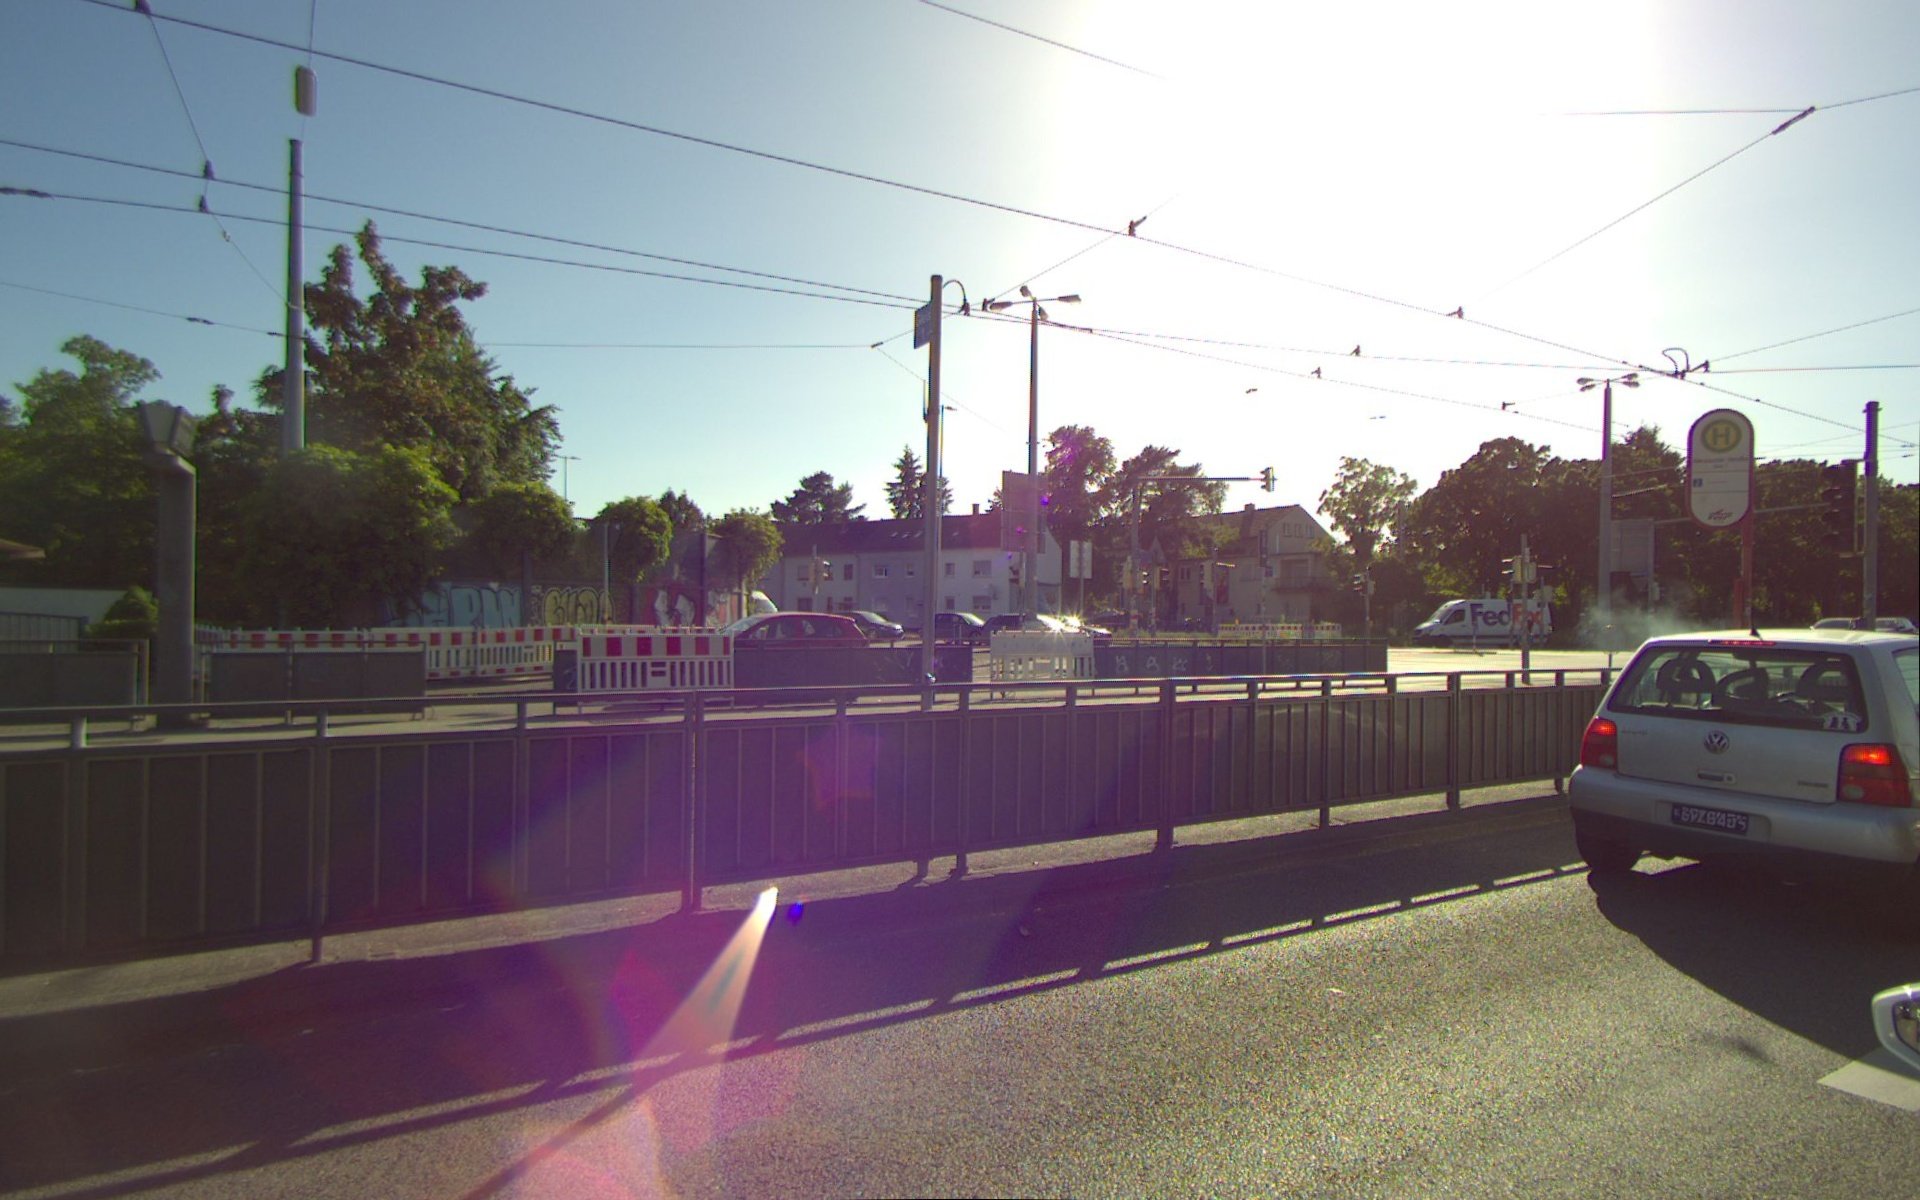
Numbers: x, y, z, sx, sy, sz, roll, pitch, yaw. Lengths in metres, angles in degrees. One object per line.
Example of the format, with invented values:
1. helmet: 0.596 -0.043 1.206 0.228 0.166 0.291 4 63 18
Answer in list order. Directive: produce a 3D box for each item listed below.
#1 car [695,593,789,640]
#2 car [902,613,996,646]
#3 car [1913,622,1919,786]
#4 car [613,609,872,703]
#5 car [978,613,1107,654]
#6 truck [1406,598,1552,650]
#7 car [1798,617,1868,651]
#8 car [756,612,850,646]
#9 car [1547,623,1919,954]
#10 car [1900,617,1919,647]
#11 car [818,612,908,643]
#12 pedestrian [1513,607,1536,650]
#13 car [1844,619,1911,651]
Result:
1. car: -11.819 0.873 54.301 4.995 2.434 2.132 0 -1 34
2. car: -0.512 1.316 45.807 4.104 1.451 1.589 0 -1 34
3. car: 10.785 0.998 9.445 4.038 1.476 1.611 2 0 -31
4. car: -3.612 0.909 16.963 3.975 1.421 1.594 2 -2 -35
5. car: 3.187 1.280 39.206 4.754 1.517 1.781 0 -1 34
6. truck: 27.284 1.271 52.961 6.689 2.599 2.000 1 -1 -1
7. car: 42.444 1.653 48.795 3.963 1.568 1.819 1 -1 -37
8. car: -7.239 1.310 46.109 4.104 1.451 1.846 0 -1 34
9. car: 5.214 0.884 5.958 3.312 1.436 1.611 2 -2 -31
10. car: 54.287 1.796 56.050 4.712 1.626 1.978 1 1 -38
11. car: -4.753 1.327 48.892 4.212 1.451 1.788 0 -1 34
12. pedestrian: 26.858 1.353 47.764 0.785 2.040 0.741 1 -1 -42
13. car: 47.328 1.778 51.783 4.245 1.568 1.819 1 -1 -37
